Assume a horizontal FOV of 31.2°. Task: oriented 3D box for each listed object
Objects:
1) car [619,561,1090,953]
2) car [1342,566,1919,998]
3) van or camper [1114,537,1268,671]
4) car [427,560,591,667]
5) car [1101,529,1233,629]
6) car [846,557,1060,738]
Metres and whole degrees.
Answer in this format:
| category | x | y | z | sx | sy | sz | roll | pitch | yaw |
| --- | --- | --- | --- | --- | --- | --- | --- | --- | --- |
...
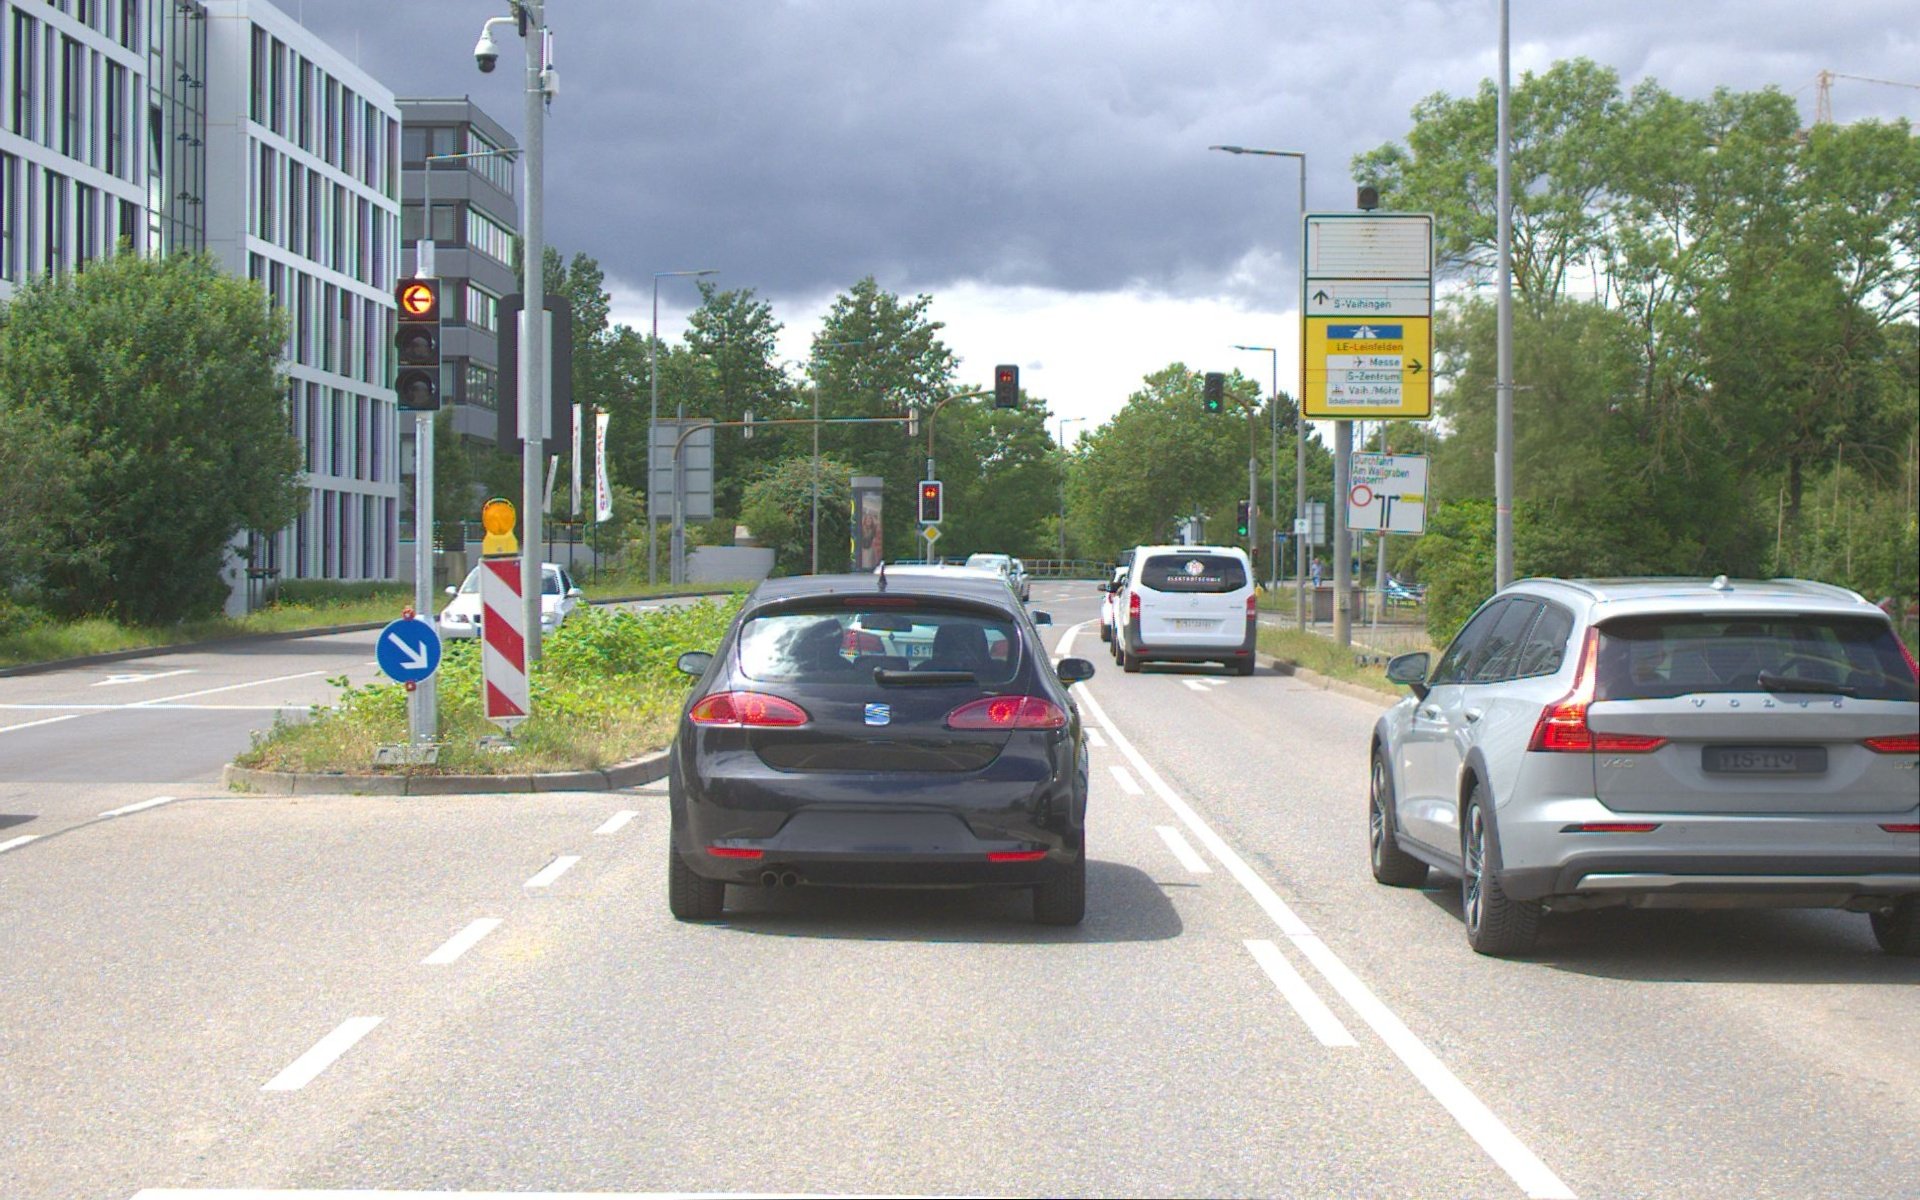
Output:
| category | x | y | z | sx | sy | sz | roll | pitch | yaw |
| --- | --- | --- | --- | --- | --- | --- | --- | --- | --- |
| car | -0.349 | 0.590 | 15.208 | 1.773 | 1.447 | 3.582 | 2 | 1 | 2 |
| car | 2.824 | 0.632 | 14.540 | 1.863 | 1.513 | 4.447 | 0 | 1 | -1 |
| van or camper | 3.363 | 0.029 | 50.848 | 1.993 | 1.853 | 4.943 | 1 | 1 | 1 |
| car | -6.465 | 0.156 | 49.674 | 1.792 | 1.442 | 4.422 | 1 | 1 | 0 |
| car | 3.499 | -0.368 | 58.650 | 1.993 | 1.626 | 4.000 | 1 | 1 | 0 |
| car | -0.049 | 0.374 | 30.497 | 1.773 | 1.486 | 3.582 | 0 | 1 | 0 |
